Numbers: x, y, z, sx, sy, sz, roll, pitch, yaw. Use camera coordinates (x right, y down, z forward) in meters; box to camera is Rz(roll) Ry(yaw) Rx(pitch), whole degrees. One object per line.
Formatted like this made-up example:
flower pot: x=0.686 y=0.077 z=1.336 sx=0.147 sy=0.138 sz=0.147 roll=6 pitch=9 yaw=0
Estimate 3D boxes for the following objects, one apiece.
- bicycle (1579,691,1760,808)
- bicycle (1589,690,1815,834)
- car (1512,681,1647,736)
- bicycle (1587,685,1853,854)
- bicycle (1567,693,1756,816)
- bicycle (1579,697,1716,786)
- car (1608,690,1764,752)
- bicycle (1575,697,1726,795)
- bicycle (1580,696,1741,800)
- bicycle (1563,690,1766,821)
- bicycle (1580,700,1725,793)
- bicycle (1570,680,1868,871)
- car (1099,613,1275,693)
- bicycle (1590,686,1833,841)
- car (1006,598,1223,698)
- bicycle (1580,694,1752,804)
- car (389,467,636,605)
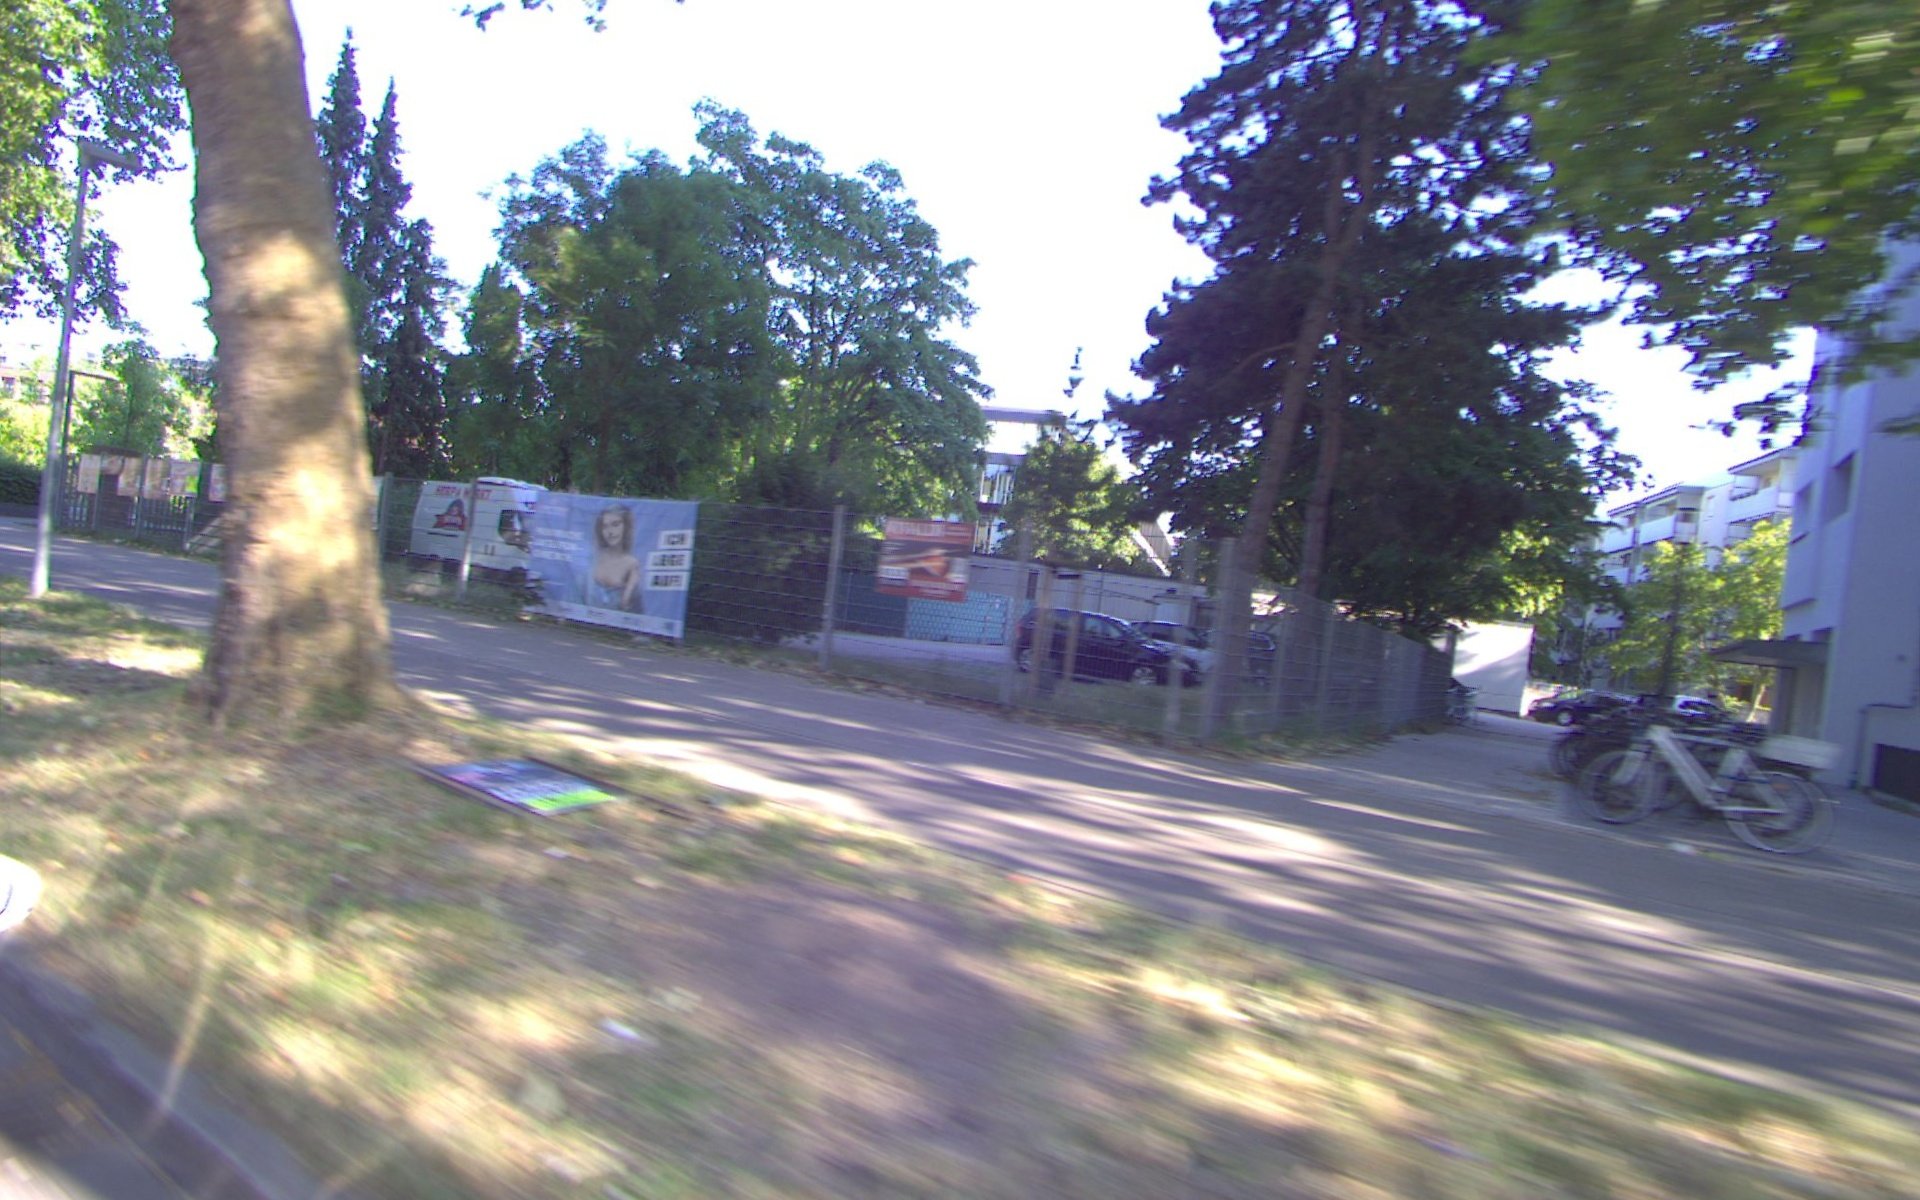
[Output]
bicycle: x=9.319 y=1.946 z=13.317 sx=1.790 sy=1.191 sz=0.791 roll=7 pitch=-2 yaw=32
bicycle: x=7.979 y=1.713 z=10.937 sx=1.790 sy=1.191 sz=0.791 roll=7 pitch=-2 yaw=32
car: x=24.116 y=4.215 z=39.279 sx=3.927 sy=1.469 sz=2.002 roll=8 pitch=-2 yaw=0
bicycle: x=6.994 y=1.527 z=9.394 sx=1.790 sy=1.191 sz=0.791 roll=7 pitch=-2 yaw=32
bicycle: x=8.767 y=1.907 z=12.679 sx=1.790 sy=1.191 sz=0.791 roll=7 pitch=-2 yaw=32
bicycle: x=11.828 y=2.421 z=17.396 sx=1.790 sy=1.191 sz=0.791 roll=7 pitch=-2 yaw=32
car: x=25.425 y=4.232 z=35.334 sx=3.927 sy=1.469 sz=2.002 roll=8 pitch=-2 yaw=0
bicycle: x=10.778 y=2.268 z=15.780 sx=1.790 sy=1.191 sz=0.791 roll=7 pitch=-2 yaw=32
bicycle: x=10.293 y=2.156 z=14.871 sx=1.790 sy=1.191 sz=0.791 roll=7 pitch=-2 yaw=32
bicycle: x=8.248 y=1.795 z=11.888 sx=1.790 sy=1.191 sz=0.791 roll=7 pitch=-2 yaw=32
bicycle: x=11.271 y=2.370 z=16.452 sx=1.790 sy=1.191 sz=0.791 roll=7 pitch=-2 yaw=32
bicycle: x=6.211 y=1.403 z=8.386 sx=1.790 sy=1.191 sz=0.791 roll=7 pitch=-2 yaw=32
car: x=5.879 y=1.373 z=26.098 sx=3.931 sy=1.469 sz=2.000 roll=7 pitch=-2 yaw=28
bicycle: x=7.515 y=1.612 z=10.188 sx=1.790 sy=1.191 sz=0.791 roll=7 pitch=-2 yaw=32
car: x=3.243 y=1.000 z=21.117 sx=3.931 sy=1.469 sz=2.000 roll=7 pitch=-2 yaw=28
bicycle: x=9.770 y=2.041 z=14.023 sx=1.790 sy=1.191 sz=0.791 roll=7 pitch=-2 yaw=32
car: x=-10.551 y=-1.550 z=23.479 sx=6.244 sy=2.527 sz=1.997 roll=7 pitch=-2 yaw=34
